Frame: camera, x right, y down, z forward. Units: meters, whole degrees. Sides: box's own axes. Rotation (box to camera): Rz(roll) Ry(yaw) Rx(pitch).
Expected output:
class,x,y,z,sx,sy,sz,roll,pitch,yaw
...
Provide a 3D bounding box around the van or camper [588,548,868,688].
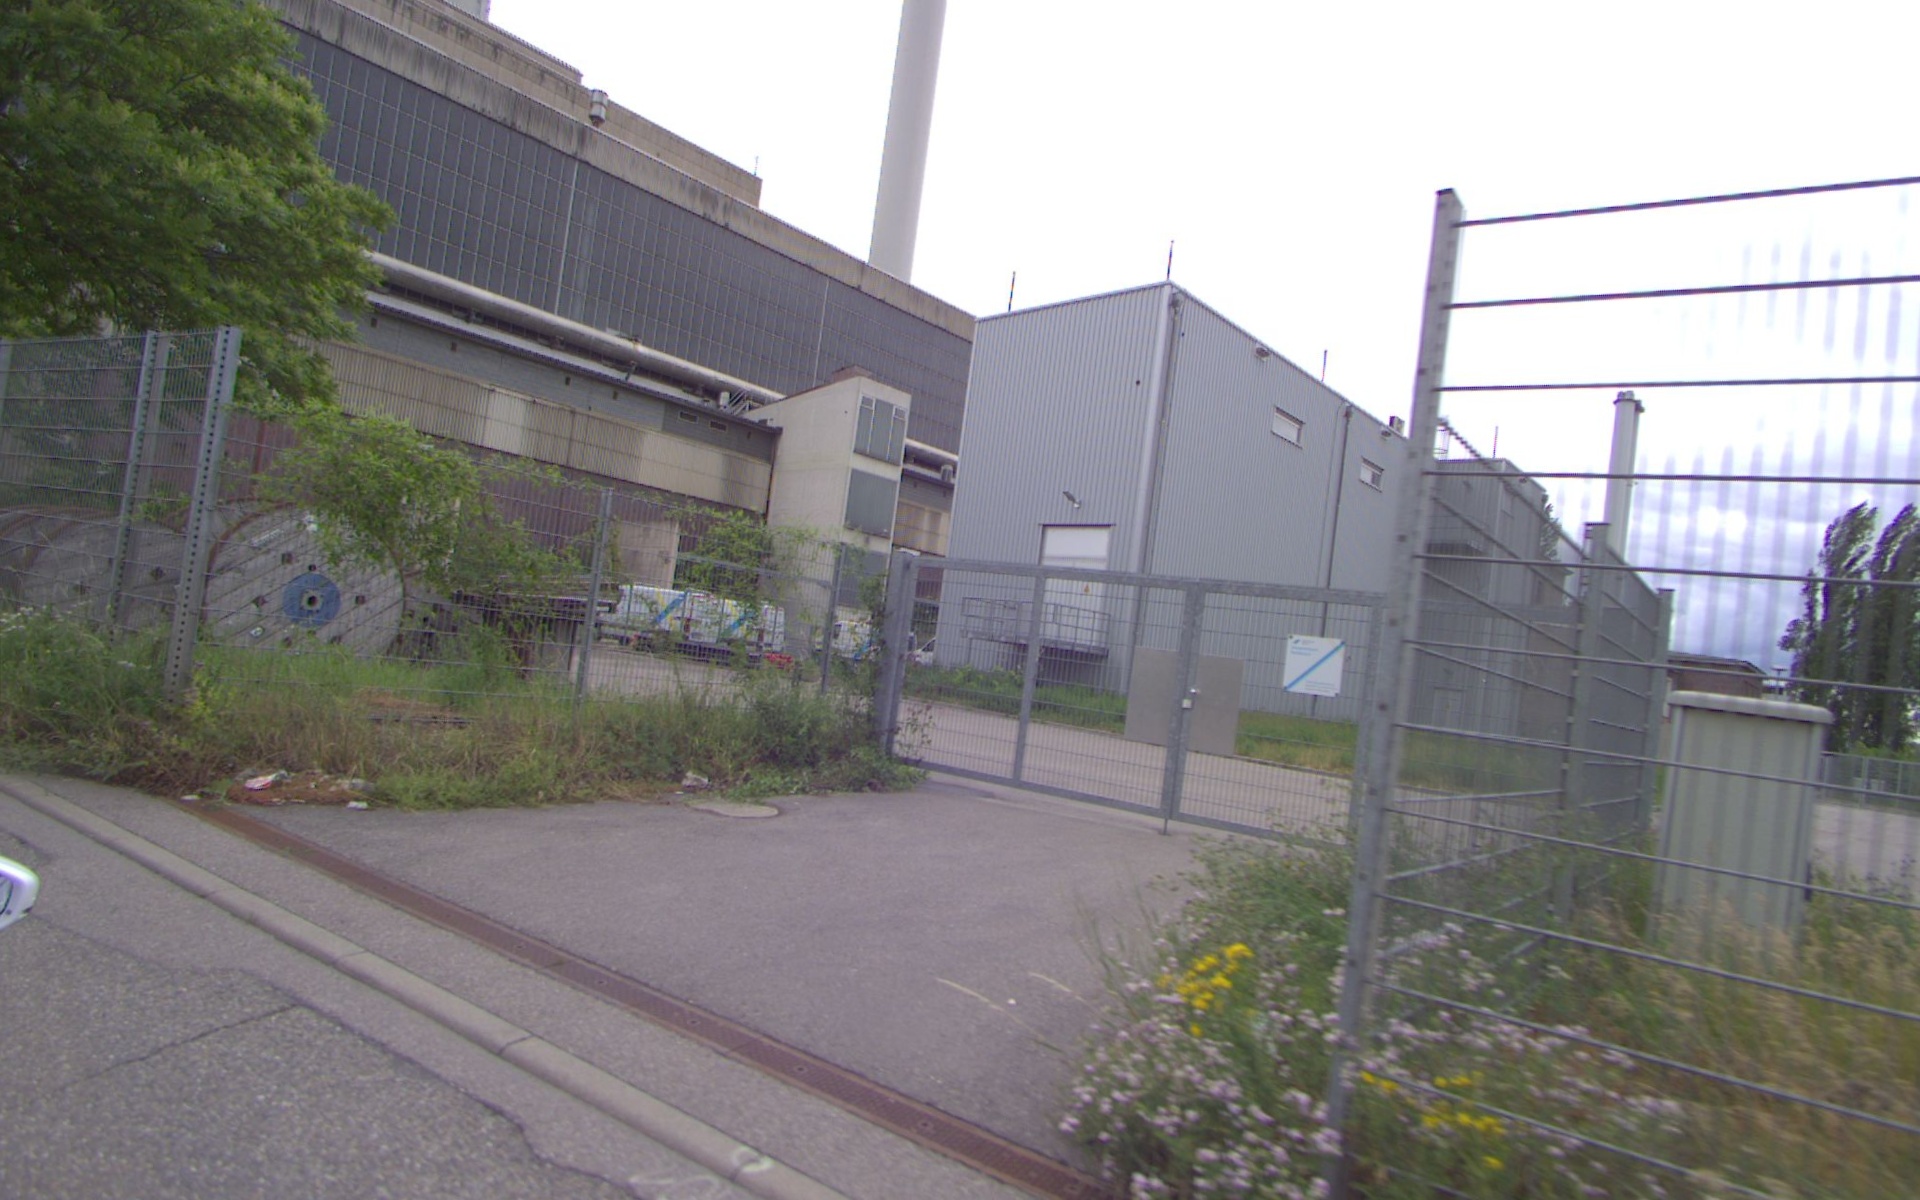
class,x,y,z,sx,sy,sz,roll,pitch,yaw
van or camper,-9.419,1.067,43.489,5.388,4.580,11.854,5,-4,24
